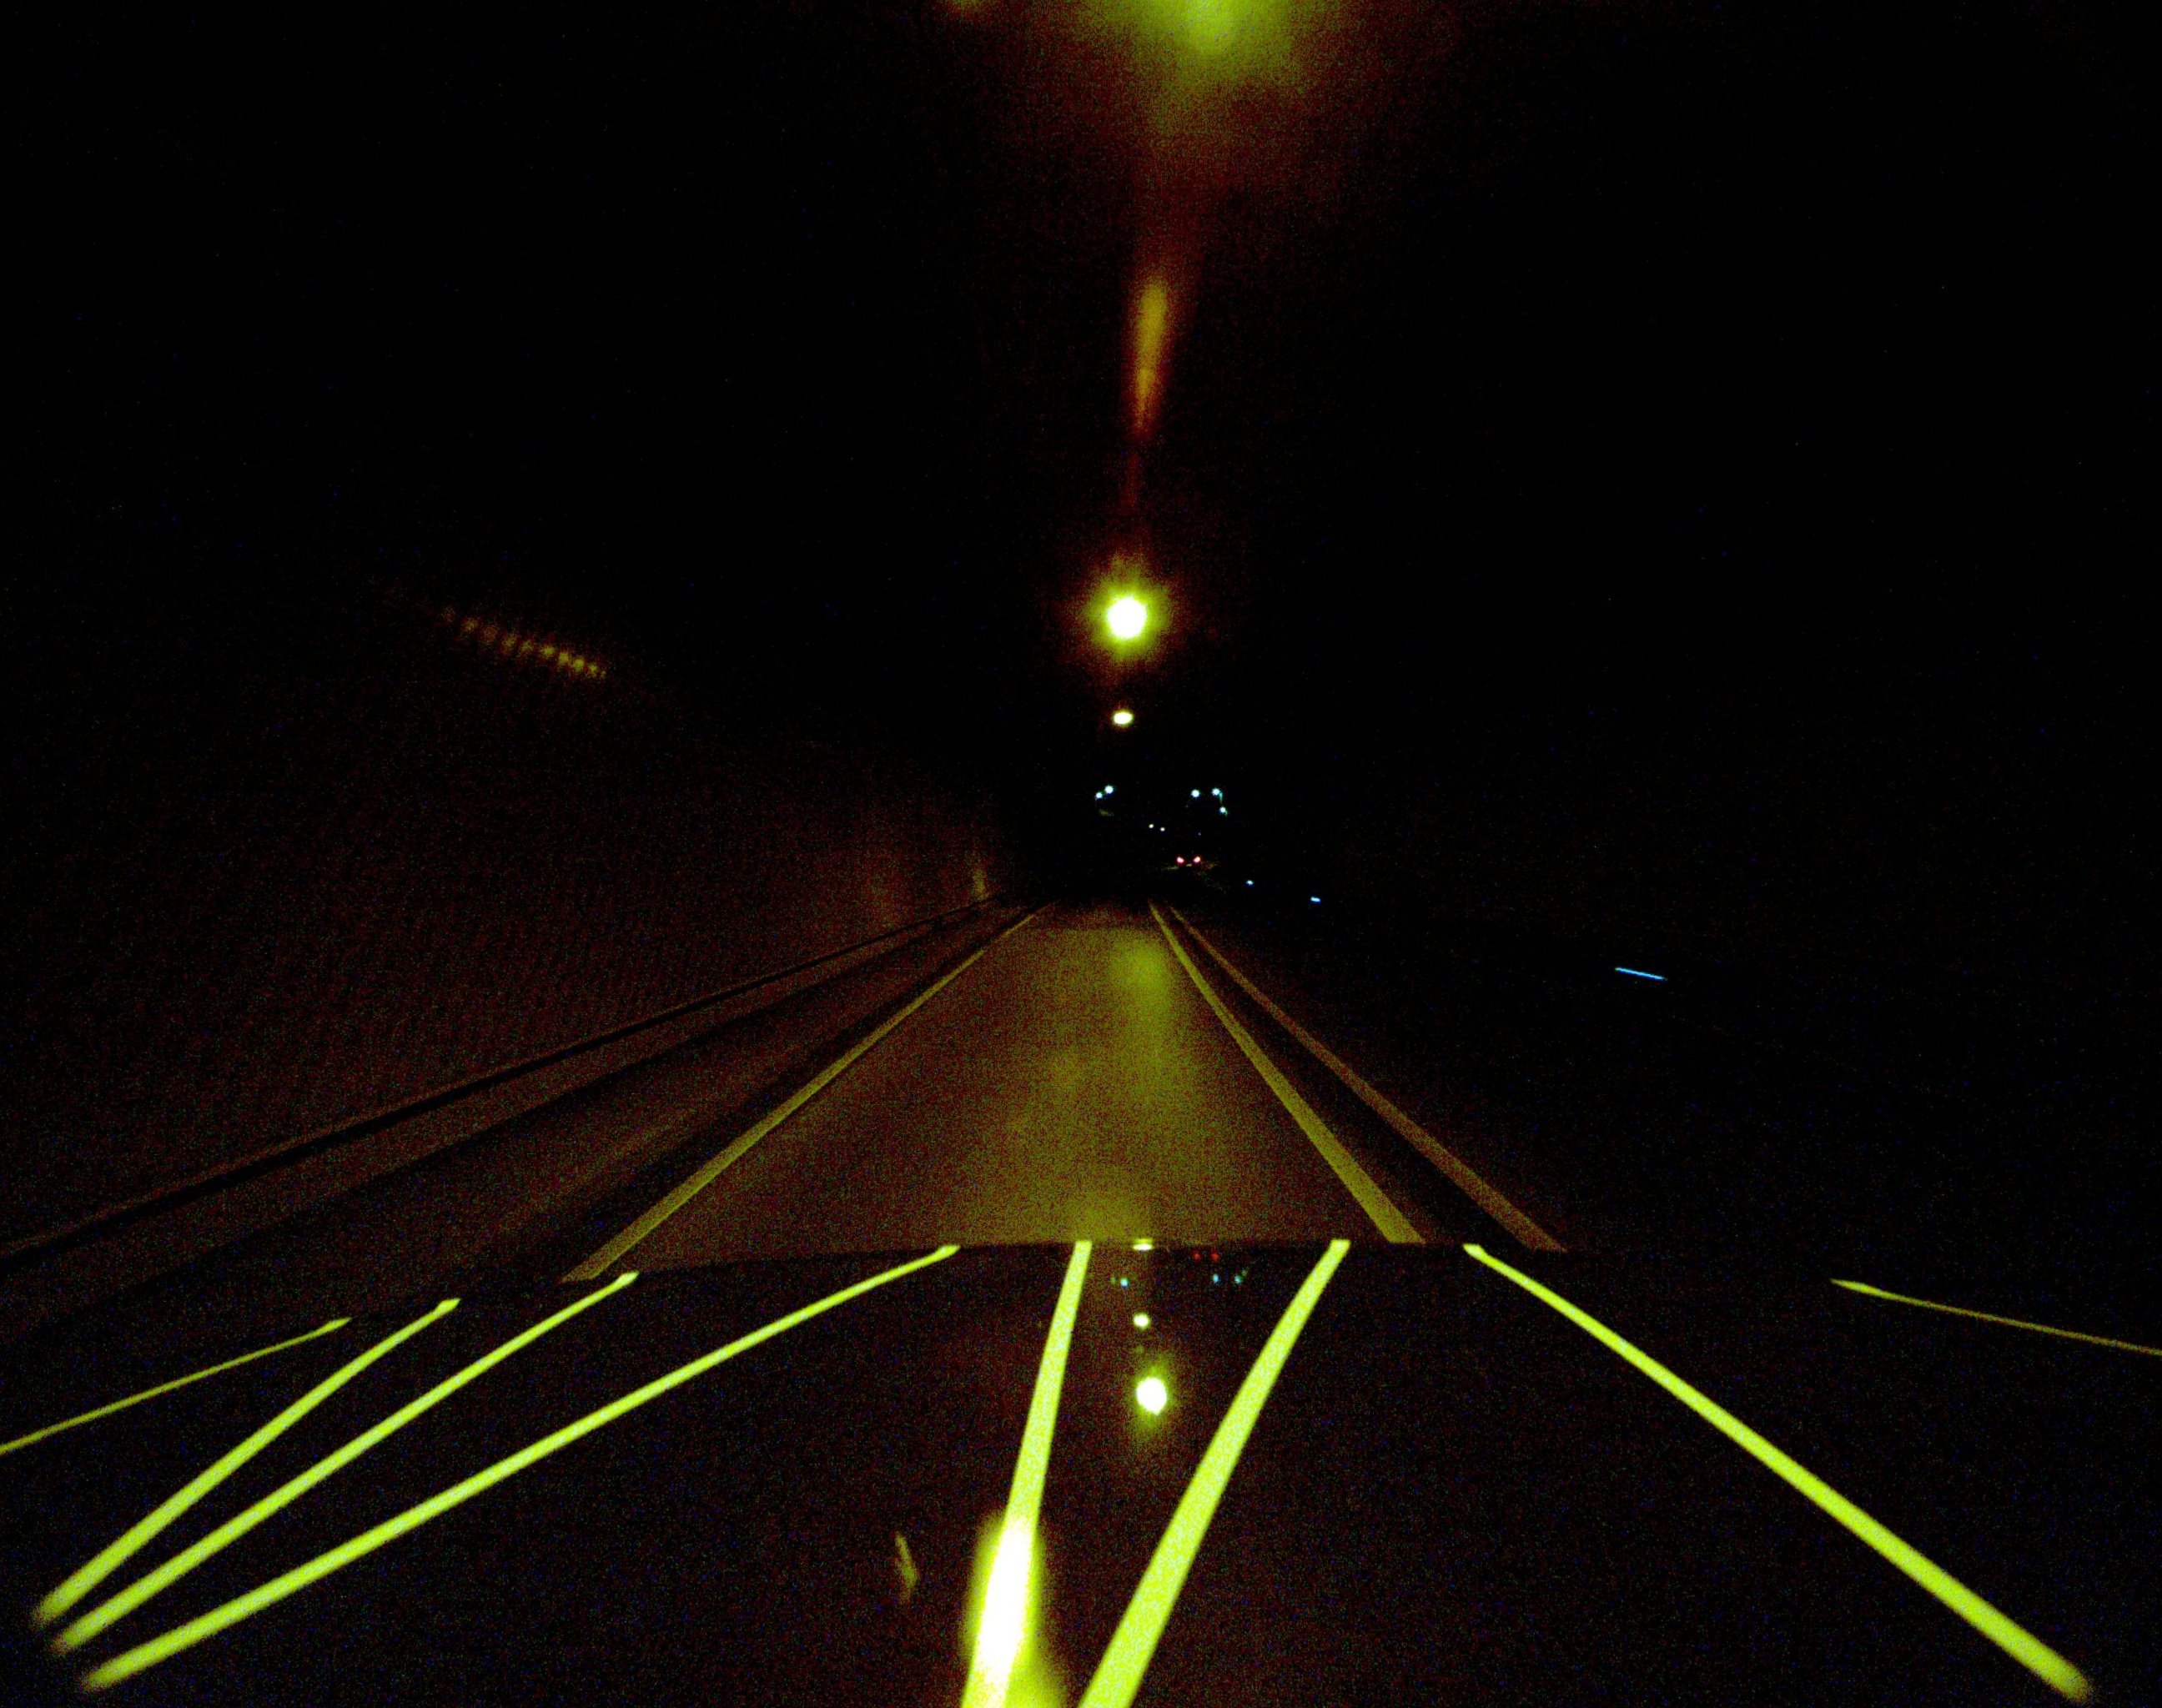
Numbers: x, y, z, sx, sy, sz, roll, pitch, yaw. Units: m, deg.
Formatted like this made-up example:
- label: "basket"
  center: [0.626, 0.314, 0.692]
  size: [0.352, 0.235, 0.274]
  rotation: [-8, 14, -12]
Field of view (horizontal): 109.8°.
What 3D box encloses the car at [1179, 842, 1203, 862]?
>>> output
- label: "car"
  center: [8.658, -0.178, 59.456]
  size: [1.719, 1.434, 4.396]
  rotation: [-3, 0, 9]
